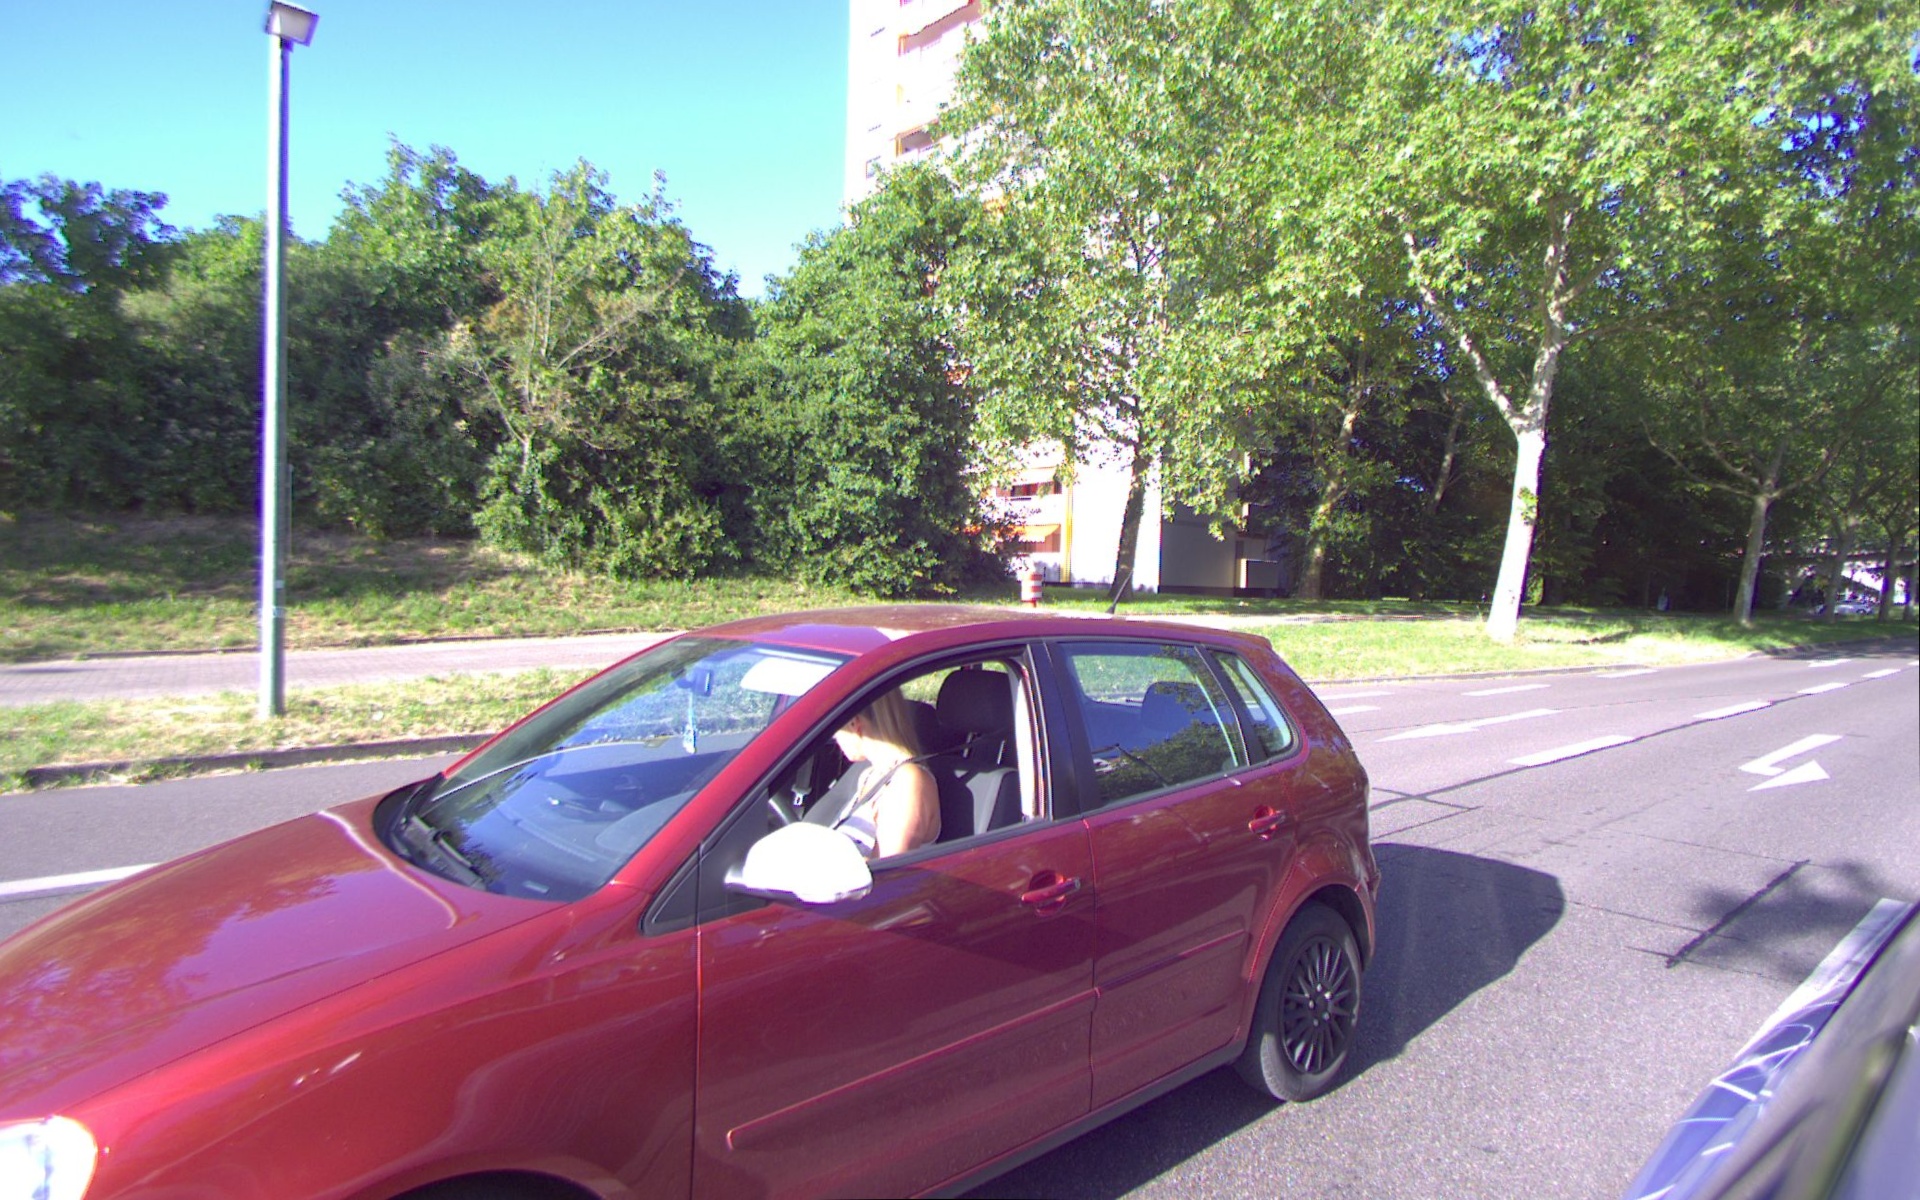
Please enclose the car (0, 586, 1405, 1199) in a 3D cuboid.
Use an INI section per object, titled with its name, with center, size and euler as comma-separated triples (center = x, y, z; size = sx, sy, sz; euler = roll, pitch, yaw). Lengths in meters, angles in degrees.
[car]
center = -0.443, 0.711, 2.724
size = 3.624, 1.479, 1.579
euler = -1, 0, -40
